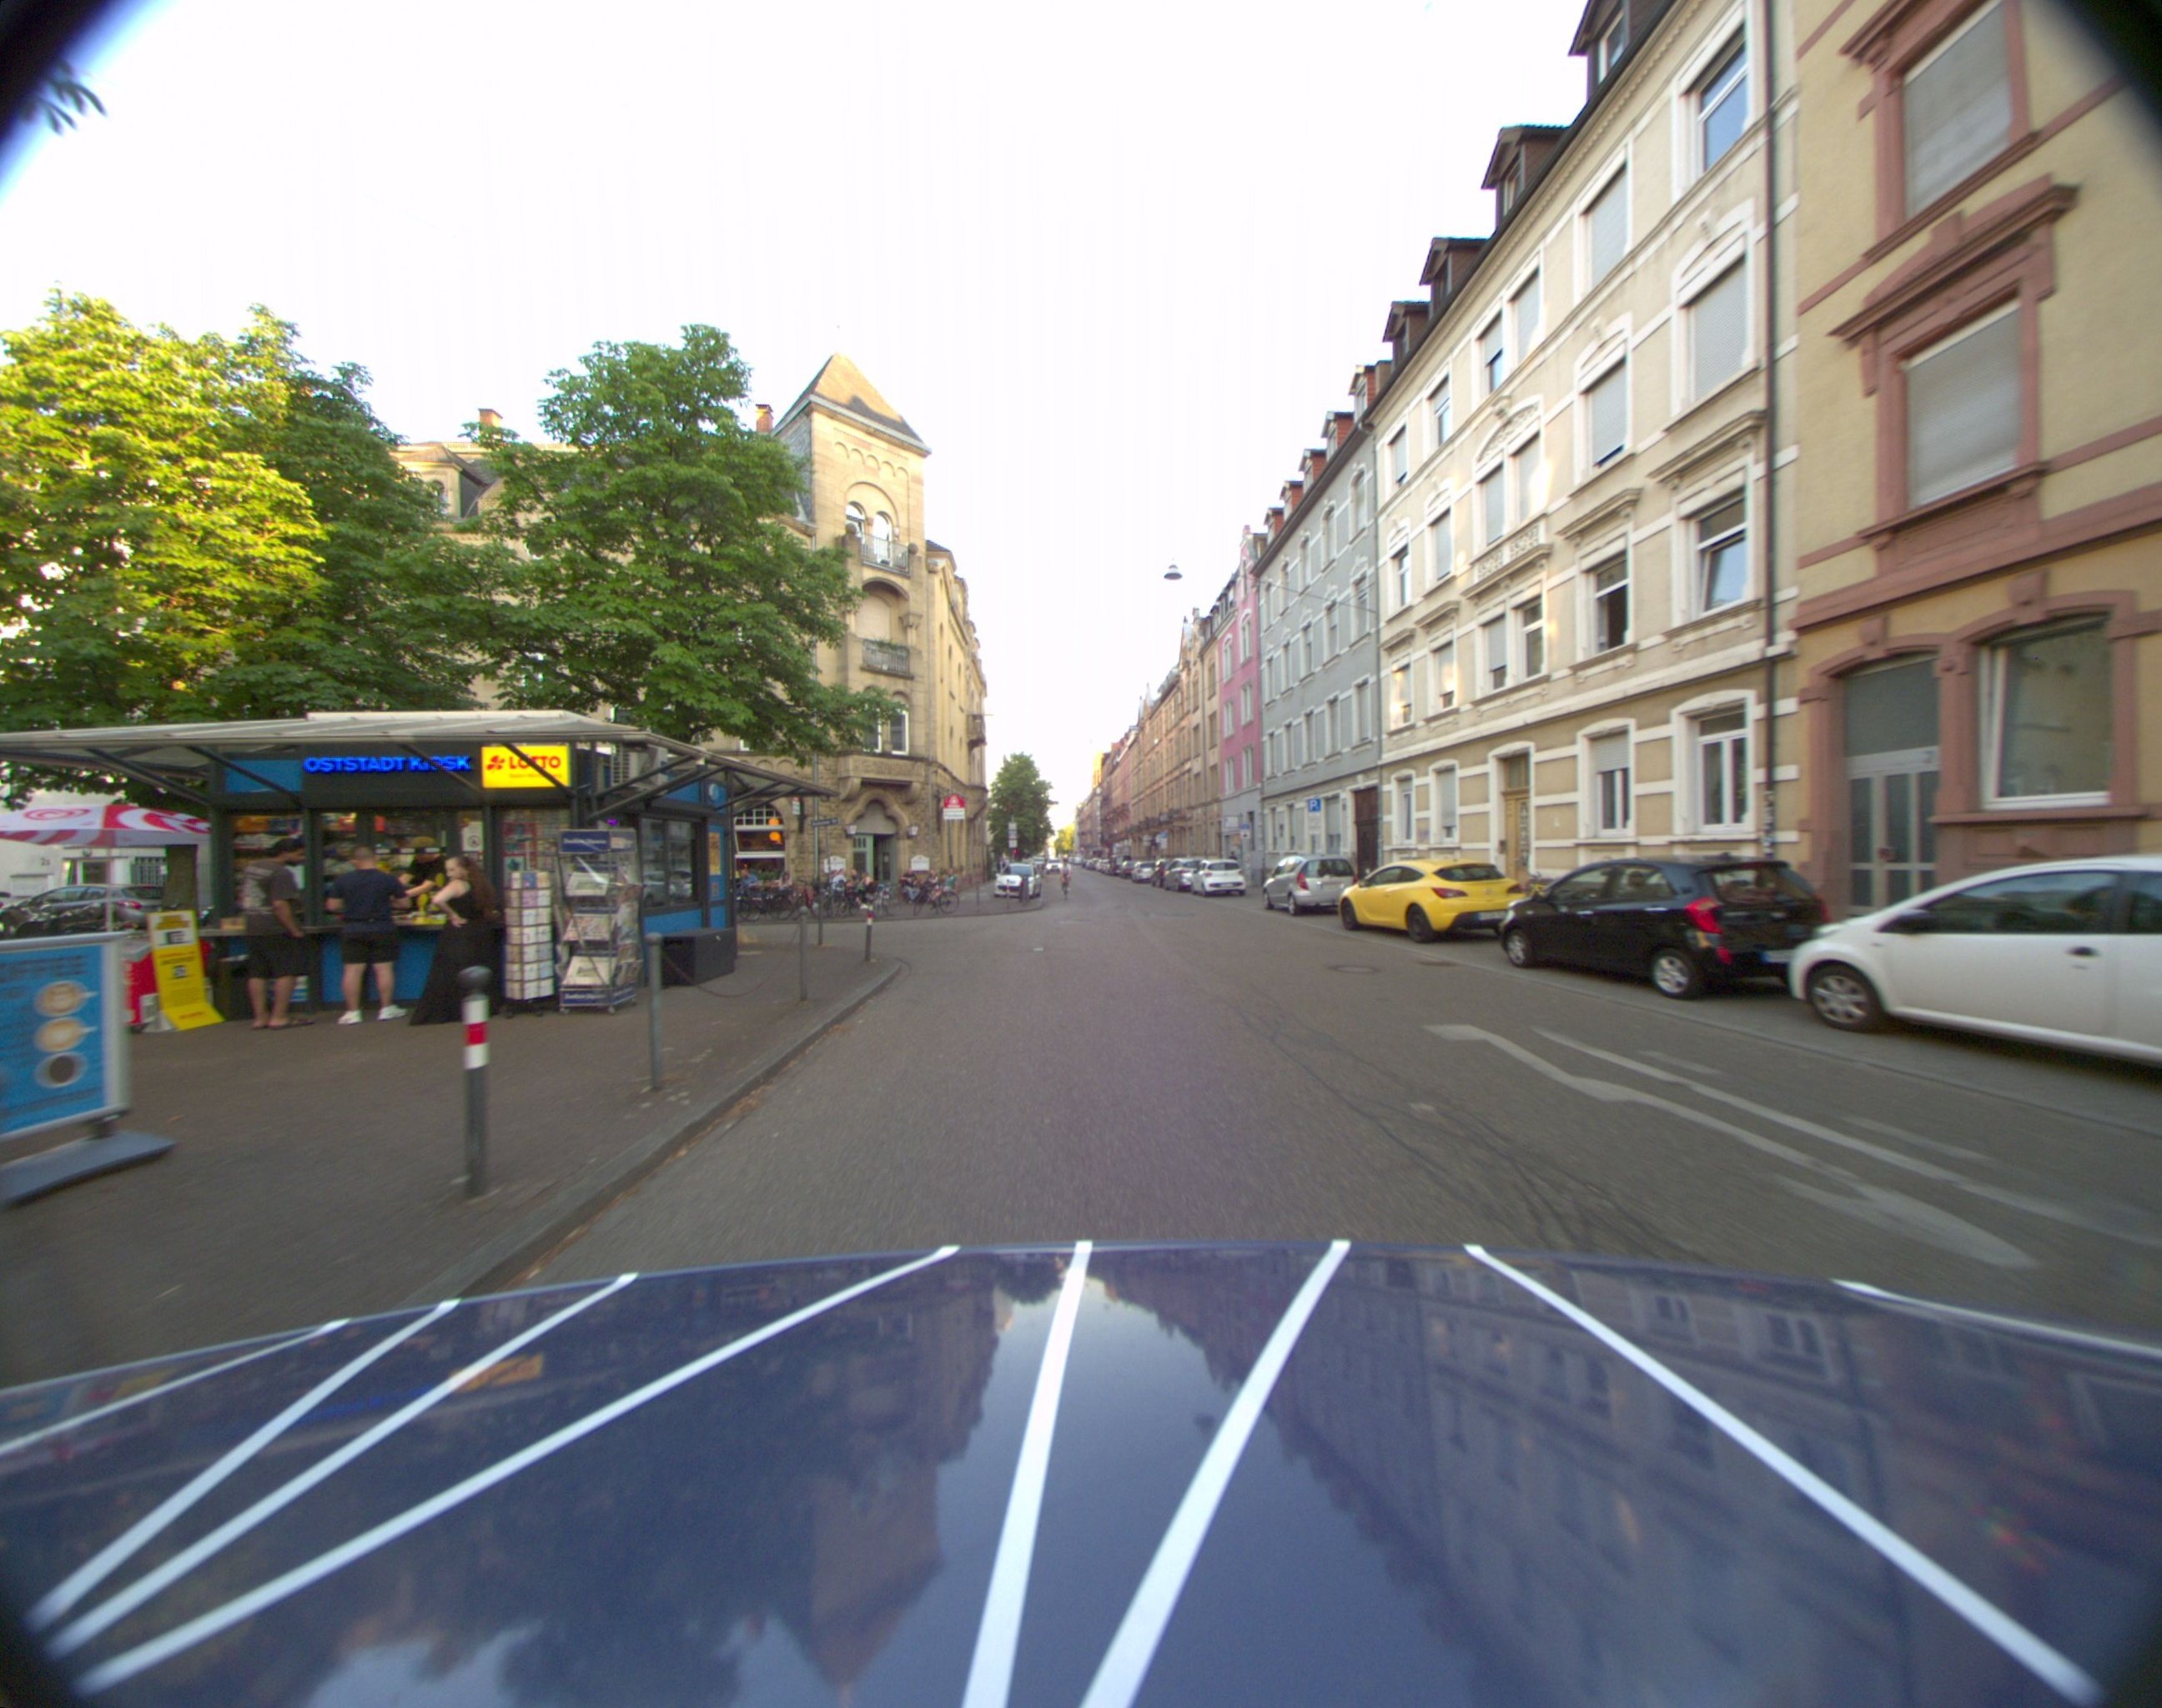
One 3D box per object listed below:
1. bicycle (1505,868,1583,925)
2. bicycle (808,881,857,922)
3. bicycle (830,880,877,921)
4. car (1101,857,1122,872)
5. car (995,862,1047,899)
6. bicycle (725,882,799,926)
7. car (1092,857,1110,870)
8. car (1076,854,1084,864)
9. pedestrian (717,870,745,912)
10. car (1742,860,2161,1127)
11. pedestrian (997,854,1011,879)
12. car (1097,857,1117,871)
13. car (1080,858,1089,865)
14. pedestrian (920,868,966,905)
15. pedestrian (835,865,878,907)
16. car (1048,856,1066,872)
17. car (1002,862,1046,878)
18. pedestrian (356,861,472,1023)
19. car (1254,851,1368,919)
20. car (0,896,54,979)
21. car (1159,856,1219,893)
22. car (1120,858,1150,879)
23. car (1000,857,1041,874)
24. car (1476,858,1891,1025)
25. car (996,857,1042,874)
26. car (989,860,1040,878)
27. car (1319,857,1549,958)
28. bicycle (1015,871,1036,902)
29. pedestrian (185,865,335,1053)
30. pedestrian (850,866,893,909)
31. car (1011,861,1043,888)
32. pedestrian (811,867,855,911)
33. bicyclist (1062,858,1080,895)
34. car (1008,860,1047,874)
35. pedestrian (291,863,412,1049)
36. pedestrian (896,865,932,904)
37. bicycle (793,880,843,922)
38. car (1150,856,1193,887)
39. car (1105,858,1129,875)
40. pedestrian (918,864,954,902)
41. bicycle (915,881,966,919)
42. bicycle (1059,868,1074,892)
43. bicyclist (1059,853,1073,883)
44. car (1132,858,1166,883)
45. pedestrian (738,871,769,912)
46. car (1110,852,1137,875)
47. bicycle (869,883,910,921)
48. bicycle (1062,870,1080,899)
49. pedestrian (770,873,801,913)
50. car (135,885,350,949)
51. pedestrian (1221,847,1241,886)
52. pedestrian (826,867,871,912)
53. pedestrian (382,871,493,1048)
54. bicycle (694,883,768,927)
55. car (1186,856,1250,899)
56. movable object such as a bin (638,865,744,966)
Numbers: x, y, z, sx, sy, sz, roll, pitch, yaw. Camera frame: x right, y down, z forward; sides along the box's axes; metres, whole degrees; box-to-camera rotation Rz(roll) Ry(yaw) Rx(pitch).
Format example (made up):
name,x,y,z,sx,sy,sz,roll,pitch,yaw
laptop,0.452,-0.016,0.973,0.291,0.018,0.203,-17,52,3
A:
name,x,y,z,sx,sy,sz,roll,pitch,yaw
bicycle,9.790,0.868,16.159,0.481,1.133,1.863,-1,0,-1
bicycle,-7.149,1.357,21.939,0.475,1.064,1.836,-1,0,11
bicycle,-6.612,1.333,22.156,0.512,1.060,1.836,-1,0,11
car,3.340,1.191,83.980,1.758,1.466,4.056,-7,0,-5
car,-2.594,1.140,33.955,1.768,1.476,4.464,2,0,2
bicycle,-8.928,1.385,21.343,1.836,1.144,0.557,-1,0,-16
car,2.679,1.294,103.331,1.758,1.663,4.056,-7,0,-5
car,-0.310,1.137,186.614,1.758,2.264,4.057,-7,0,-1
pedestrian,-11.491,1.213,24.972,0.592,1.350,0.737,-1,0,-5
car,7.152,0.834,5.360,1.688,1.482,3.612,-3,0,-3
pedestrian,-5.435,0.873,53.542,0.851,1.756,0.833,0,0,1
car,3.148,1.205,93.029,1.758,1.426,4.056,-7,0,-5
car,0.824,1.764,177.277,1.758,1.426,4.057,-7,0,-1
pedestrian,-5.045,1.168,27.791,1.422,1.278,0.839,0,1,-45
pedestrian,-7.756,1.088,26.217,0.839,1.389,1.106,0,2,38
car,-2.818,1.121,90.000,1.957,1.729,4.284,-3,0,-2
car,-5.644,1.573,75.360,4.302,1.519,1.823,-1,0,-3
pedestrian,-7.019,0.896,8.032,0.678,1.628,0.590,-1,1,-10
car,6.237,0.788,21.102,1.804,1.583,4.145,-3,0,-1
car,-21.771,1.626,13.666,3.905,1.475,1.826,-2,0,-3
car,5.190,0.944,36.996,1.838,1.583,4.671,-3,0,-5
car,4.332,1.154,61.690,1.758,1.466,4.279,-7,0,-3
car,-6.416,1.222,80.670,4.302,1.666,1.823,-1,0,-3
car,6.734,0.834,9.097,1.734,1.482,3.740,-3,0,-6
car,-5.929,1.072,72.949,4.302,1.519,1.823,-1,0,-3
car,-5.795,1.289,66.751,4.302,1.443,1.823,-1,0,-3
car,6.461,0.873,14.657,1.844,1.517,4.800,-3,0,-4
bicycle,-2.131,1.240,29.477,0.686,1.144,2.115,2,0,-1
pedestrian,-7.493,0.924,6.964,0.678,1.628,0.590,-1,1,-3
pedestrian,-7.099,1.117,25.794,0.839,1.389,1.106,0,2,38
car,-3.100,1.190,44.566,1.768,1.476,4.556,0,0,-3
pedestrian,-8.323,1.150,25.501,0.839,1.389,1.106,1,2,39
bicyclist,-0.429,0.943,32.229,0.686,1.503,0.973,-1,0,1
car,-5.980,1.446,85.819,4.302,1.519,1.823,-1,0,-3
pedestrian,-6.814,0.907,7.135,0.679,1.628,0.589,-1,1,-32
pedestrian,-6.075,1.111,27.636,0.899,1.388,1.009,1,-2,-45
bicycle,-7.646,1.337,22.162,0.502,1.105,1.836,-1,0,11
car,5.080,0.972,43.214,1.758,1.583,4.056,-3,0,-2
car,3.616,1.229,76.389,1.758,1.466,4.056,-7,0,-5
pedestrian,-5.444,1.092,28.591,0.839,1.388,1.106,1,-1,24
bicycle,-4.207,1.370,22.750,1.478,1.033,0.431,-1,1,-43
bicycle,-0.756,1.317,39.192,0.686,1.144,2.115,-1,0,-2
bicyclist,-0.766,0.724,39.224,0.686,1.503,0.973,-1,0,-2
car,4.644,1.092,52.623,1.758,1.466,4.057,-7,0,-1
pedestrian,-10.763,1.221,24.993,0.731,1.313,0.667,-1,0,-5
car,3.968,0.910,71.241,1.874,1.949,4.291,-4,0,-4
bicycle,-5.545,1.375,22.089,0.447,0.974,1.707,-1,0,11
bicycle,-0.422,1.291,32.305,0.686,1.144,2.115,-1,0,1
pedestrian,-9.653,1.263,24.854,0.706,1.275,0.877,-1,0,-7
car,-23.320,1.730,21.244,3.904,1.475,1.826,-2,0,0
pedestrian,7.670,0.646,38.878,0.851,1.937,0.833,-1,0,1
pedestrian,-7.676,1.146,25.071,0.839,1.389,1.106,1,2,39
pedestrian,-5.953,0.932,7.064,0.679,1.530,0.589,-1,1,-32
bicycle,-9.954,1.446,21.664,1.835,1.154,0.538,-1,0,-16
car,5.664,0.935,31.850,1.758,1.566,3.927,-3,0,-2
movable object such as a bin,-6.069,0.932,11.857,1.224,1.467,0.766,2,0,7
